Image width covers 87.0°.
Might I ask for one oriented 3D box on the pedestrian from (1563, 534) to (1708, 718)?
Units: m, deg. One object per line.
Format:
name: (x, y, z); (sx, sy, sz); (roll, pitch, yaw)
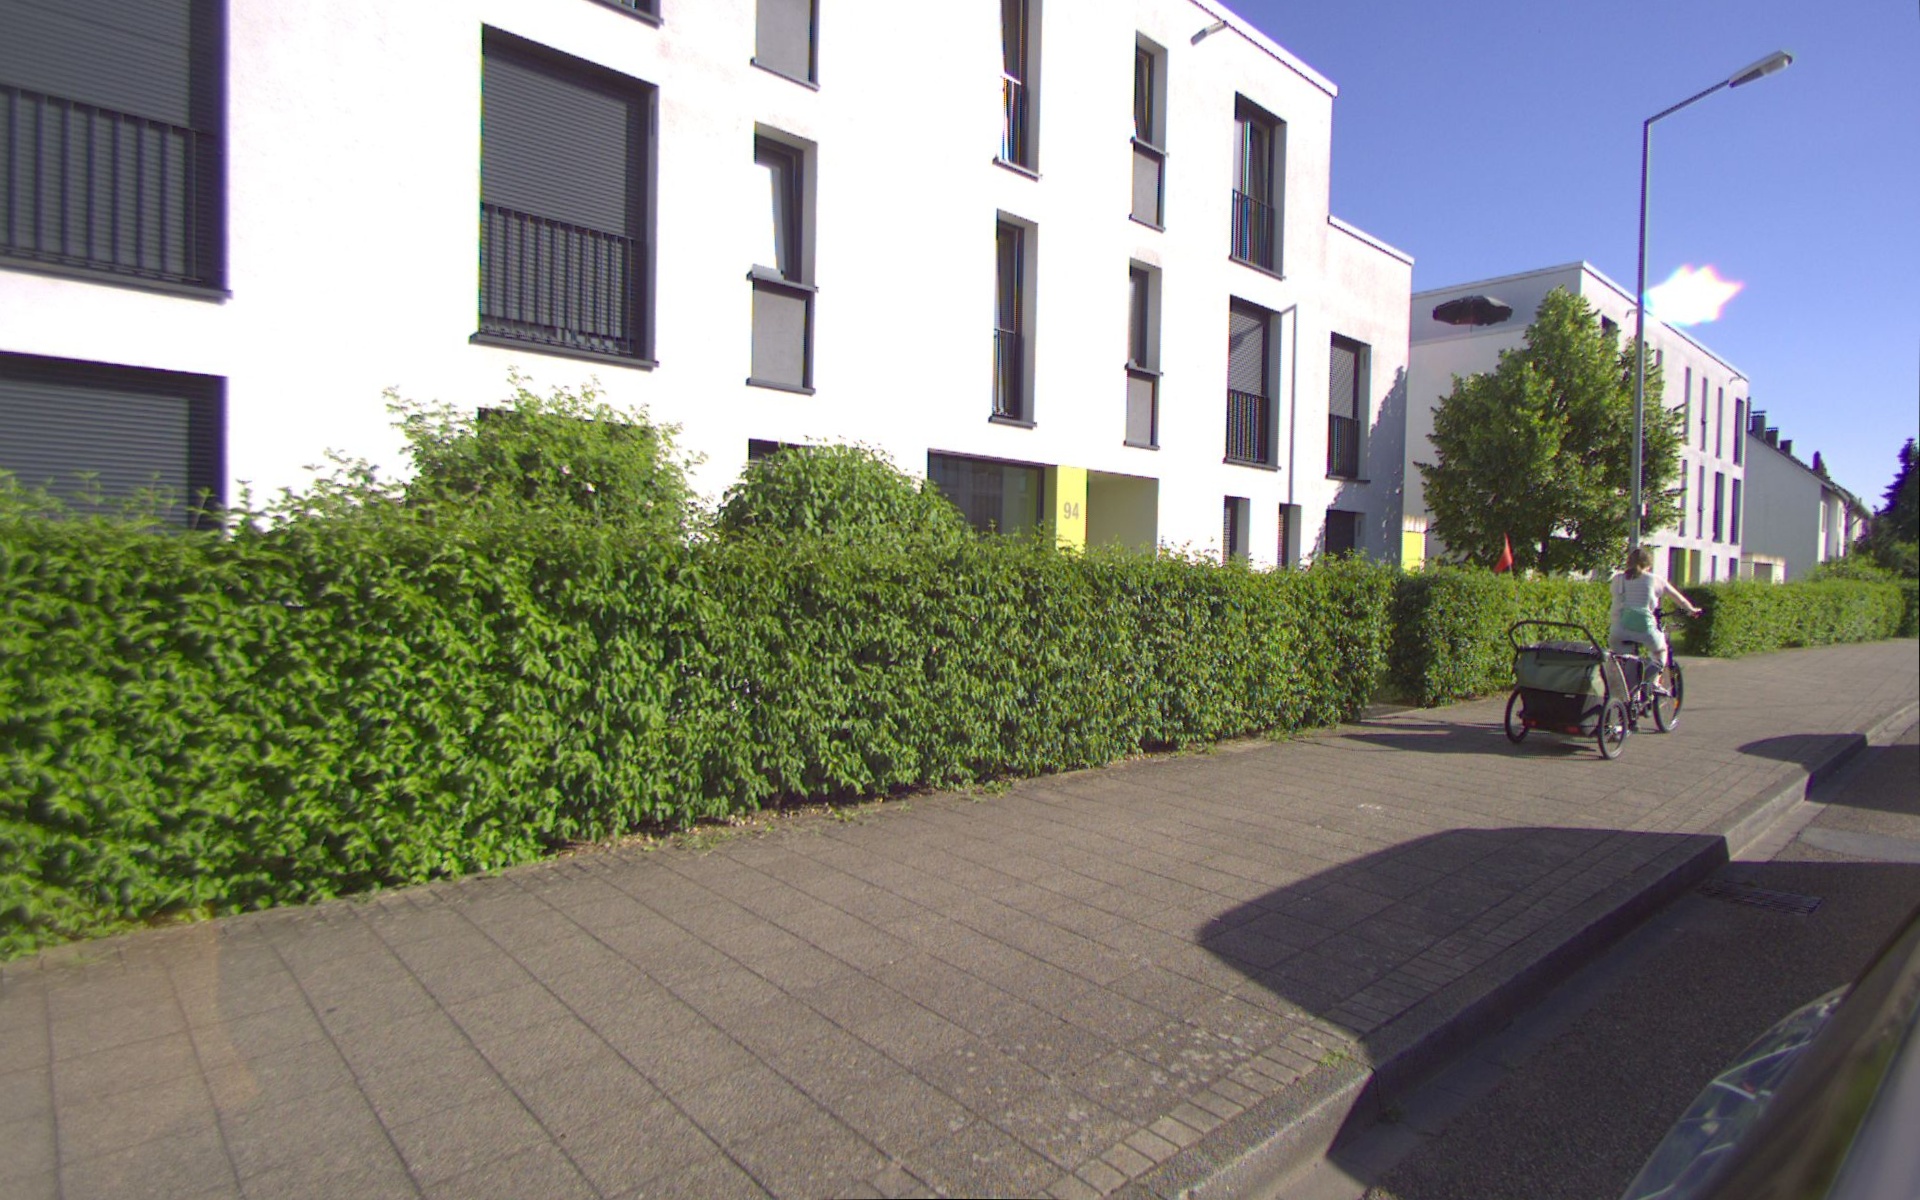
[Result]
pedestrian: (6.331, 0.209, 9.492); (0.840, 1.613, 0.912); (0, 2, -42)

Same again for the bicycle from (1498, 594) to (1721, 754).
bicycle: (5.980, 0.564, 9.204); (3.072, 1.187, 0.930); (-1, 3, -43)
